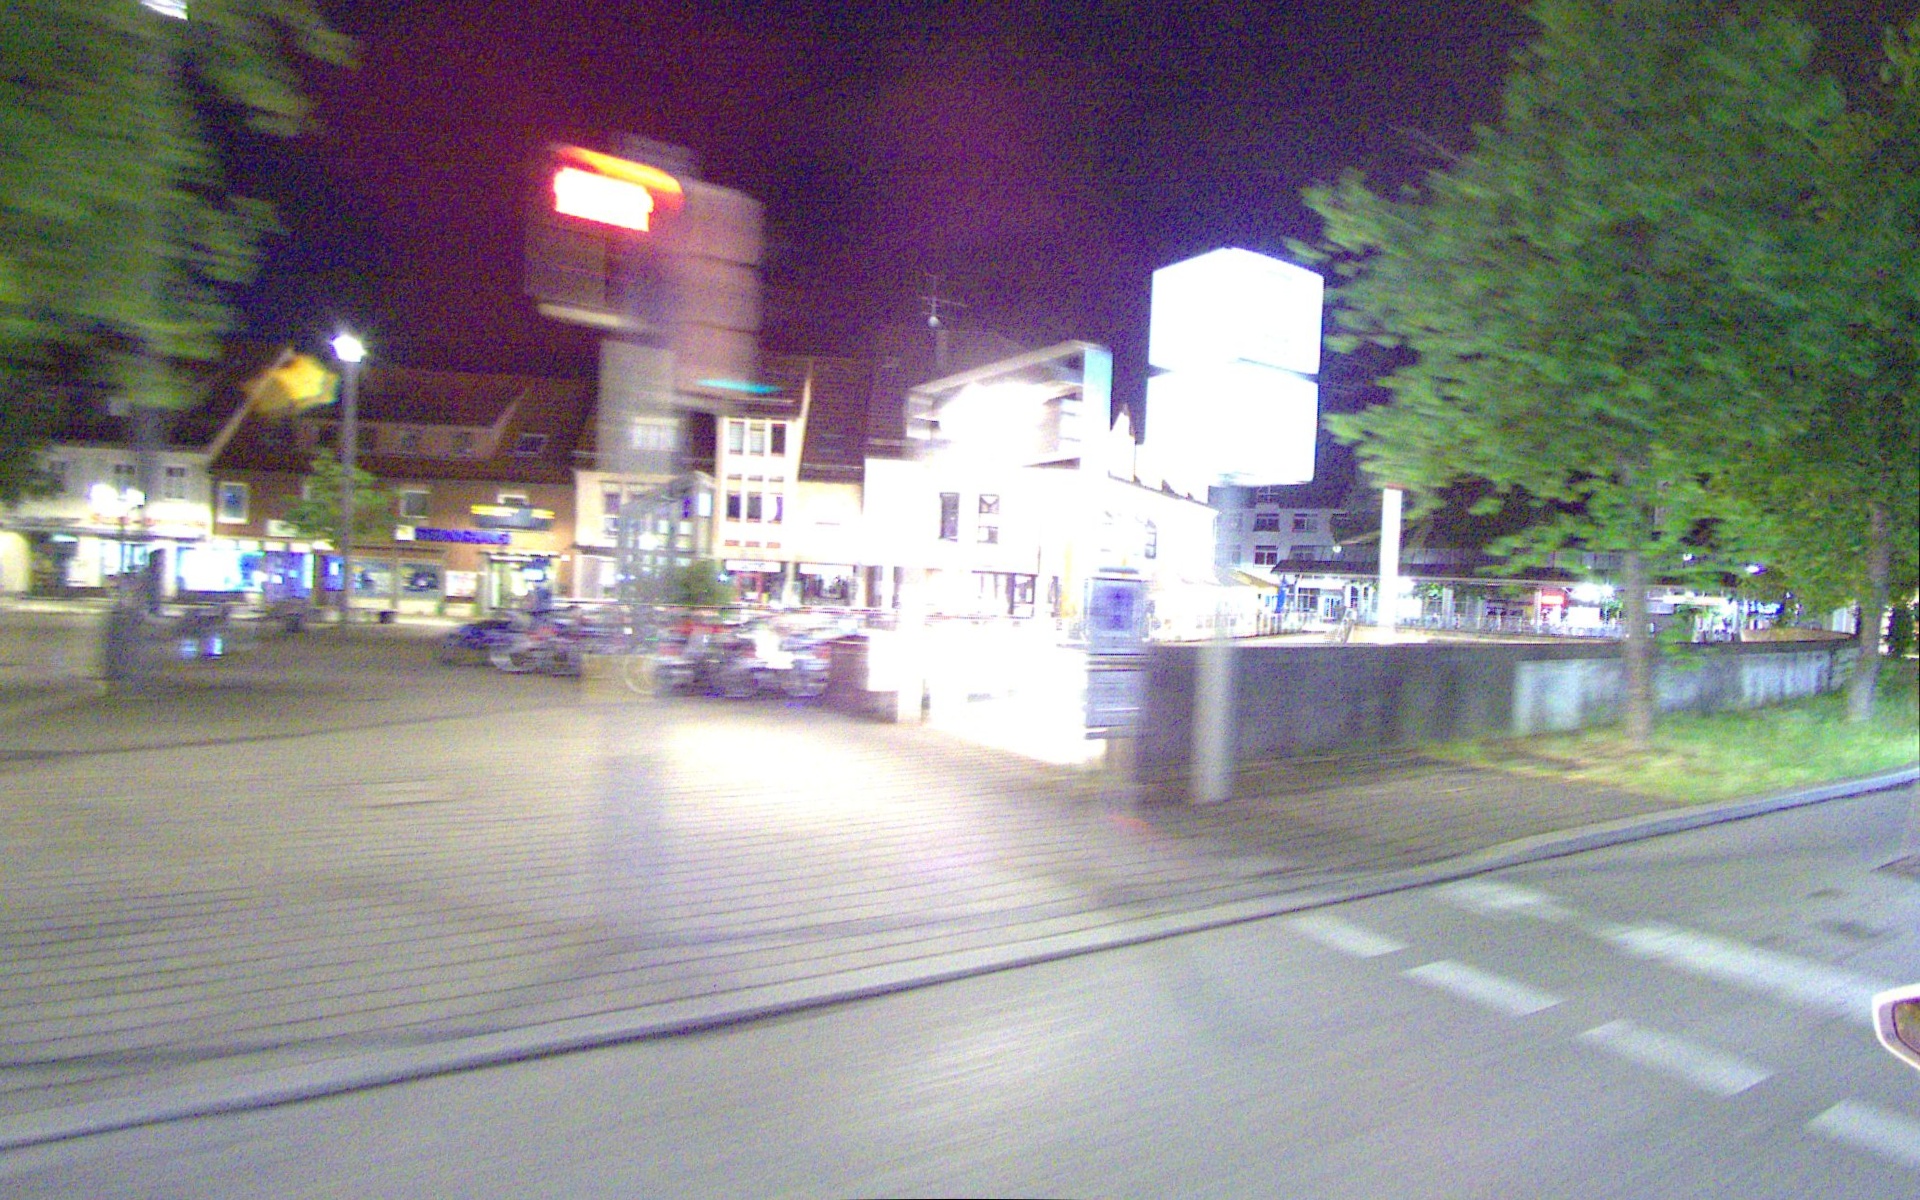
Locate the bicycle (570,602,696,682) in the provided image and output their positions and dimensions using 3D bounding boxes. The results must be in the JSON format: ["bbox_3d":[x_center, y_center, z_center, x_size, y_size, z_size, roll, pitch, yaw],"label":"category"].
[{"bbox_3d":[-4.932,0.610,15.236,0.600,1.140,1.737,1,1,43],"label":"bicycle"}]

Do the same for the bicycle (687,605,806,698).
[{"bbox_3d":[-2.876,0.661,13.705,0.598,1.181,1.744,1,0,29],"label":"bicycle"}]

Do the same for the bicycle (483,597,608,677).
[{"bbox_3d":[-6.513,0.558,15.853,0.600,1.181,1.737,1,1,43],"label":"bicycle"}]

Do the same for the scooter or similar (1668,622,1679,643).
[{"bbox_3d":[47.182,2.154,66.407,0.423,1.302,1.145,1,1,26],"label":"scooter or similar"}]

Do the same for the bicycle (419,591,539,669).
[{"bbox_3d":[-8.085,0.482,16.932,0.600,1.235,1.737,1,1,43],"label":"bicycle"}]

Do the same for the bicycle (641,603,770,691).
[{"bbox_3d":[-3.616,0.640,14.384,0.600,1.181,1.737,1,1,43],"label":"bicycle"}]

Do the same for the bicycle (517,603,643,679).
[{"bbox_3d":[-5.873,0.607,15.595,0.600,1.115,1.737,1,1,43],"label":"bicycle"}]

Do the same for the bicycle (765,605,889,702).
[{"bbox_3d":[-1.730,0.669,13.357,0.747,1.177,1.744,1,0,29],"label":"bicycle"}]

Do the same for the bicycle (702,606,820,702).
[{"bbox_3d":[-2.584,0.672,13.236,0.535,1.170,1.744,1,0,29],"label":"bicycle"}]

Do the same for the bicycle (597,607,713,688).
[{"bbox_3d":[-4.402,0.658,14.627,0.597,1.084,1.745,1,0,25],"label":"bicycle"}]

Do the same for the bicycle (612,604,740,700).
[{"bbox_3d":[-3.742,0.654,13.377,0.598,1.181,1.744,1,0,29],"label":"bicycle"}]

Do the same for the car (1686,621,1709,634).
[{"bbox_3d":[91.995,3.424,125.371,1.683,1.568,3.535,1,0,26],"label":"car"}]
